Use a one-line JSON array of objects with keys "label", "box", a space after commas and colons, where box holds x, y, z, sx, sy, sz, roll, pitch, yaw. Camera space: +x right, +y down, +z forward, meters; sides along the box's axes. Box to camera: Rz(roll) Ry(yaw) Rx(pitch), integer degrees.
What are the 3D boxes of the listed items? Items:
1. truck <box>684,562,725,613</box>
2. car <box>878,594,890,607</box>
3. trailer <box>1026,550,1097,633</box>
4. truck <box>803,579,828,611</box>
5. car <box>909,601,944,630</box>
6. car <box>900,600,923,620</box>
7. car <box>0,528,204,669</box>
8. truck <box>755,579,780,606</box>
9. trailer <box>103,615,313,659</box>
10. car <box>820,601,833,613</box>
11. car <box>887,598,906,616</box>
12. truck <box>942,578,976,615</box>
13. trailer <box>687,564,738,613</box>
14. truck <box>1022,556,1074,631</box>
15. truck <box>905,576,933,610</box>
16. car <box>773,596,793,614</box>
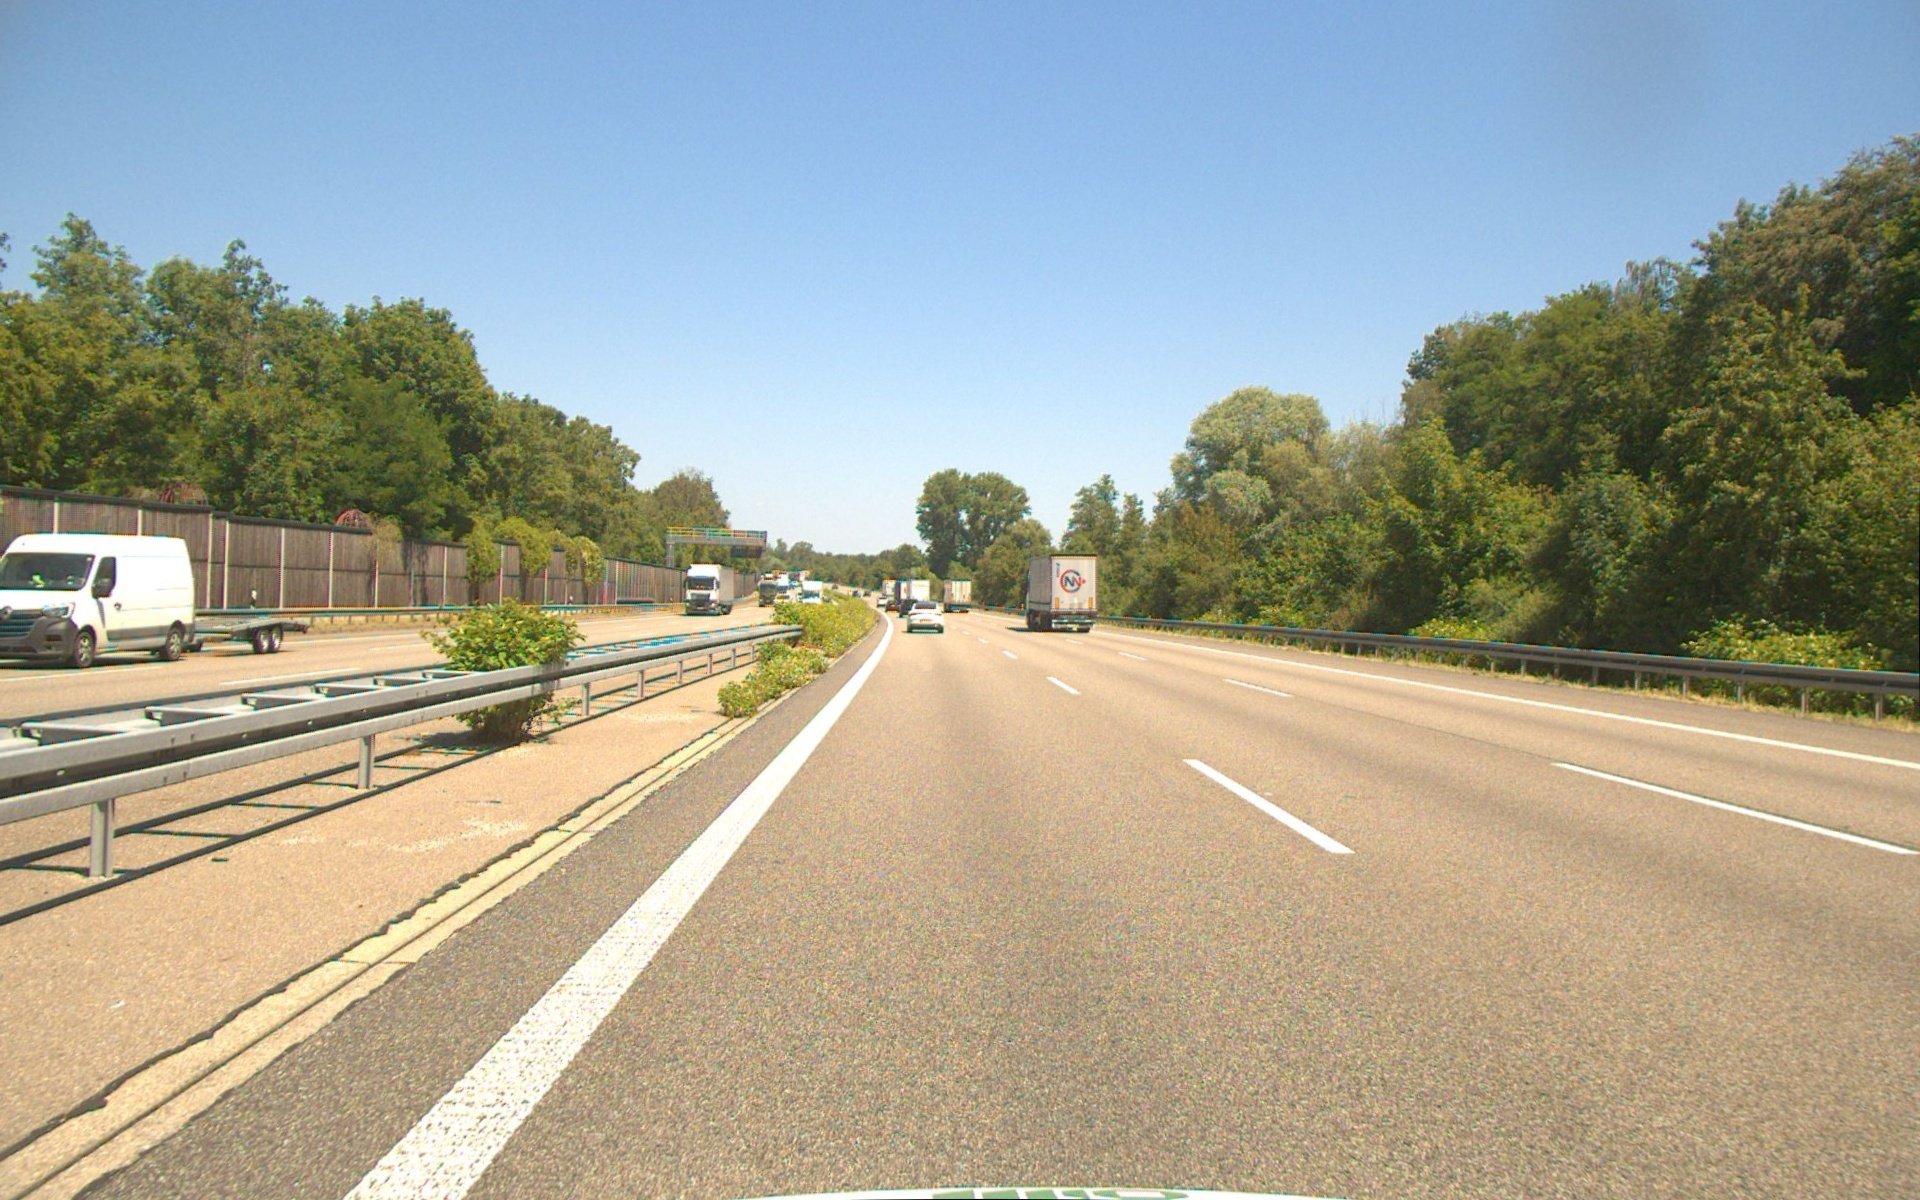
[{"label": "truck", "box": [-20.814, -0.987, 134.757, 2.633, 3.963, 5.570, 1, 0, -3]}, {"label": "car", "box": [-11.495, 0.092, 250.210, 1.690, 1.814, 3.995, 1, 0, -6]}, {"label": "trailer", "box": [5.613, -0.460, 93.945, 2.571, 4.335, 14.053, 1, 0, -2]}, {"label": "truck", "box": [-14.961, -0.488, 171.730, 2.149, 3.169, 8.530, 1, 0, -2]}, {"label": "car", "box": [-1.670, 0.753, 82.434, 1.680, 1.393, 3.374, 1, 0, -1]}, {"label": "car", "box": [-4.466, 0.931, 152.296, 1.954, 1.803, 3.996, 1, 0, -5]}, {"label": "car", "box": [-16.738, -0.027, 31.858, 1.983, 2.473, 5.410, 1, 0, -2]}, {"label": "truck", "box": [-26.981, -0.964, 231.897, 2.813, 3.668, 9.946, 1, 0, -3]}, {"label": "trailer", "box": [-16.959, 0.804, 37.748, 2.118, 0.821, 6.278, 1, 0, -2]}, {"label": "car", "box": [-17.432, 0.917, 215.969, 1.593, 1.414, 3.911, 1, 0, -4]}, {"label": "car", "box": [-7.596, 0.782, 197.097, 1.955, 2.049, 3.995, 1, 0, -6]}, {"label": "truck", "box": [-0.192, -0.459, 206.702, 3.424, 4.386, 10.978, 1, 0, -5]}, {"label": "trailer", "box": [-21.082, -0.956, 141.563, 2.674, 3.978, 13.755, 1, 0, -2]}, {"label": "truck", "box": [5.333, -0.387, 100.553, 2.554, 4.362, 5.432, 1, 0, -3]}, {"label": "truck", "box": [-5.680, -0.906, 225.214, 3.293, 4.386, 10.820, 1, 0, -4]}, {"label": "car", "box": [-19.335, 0.533, 181.103, 1.830, 1.852, 4.814, 1, 0, -3]}]
